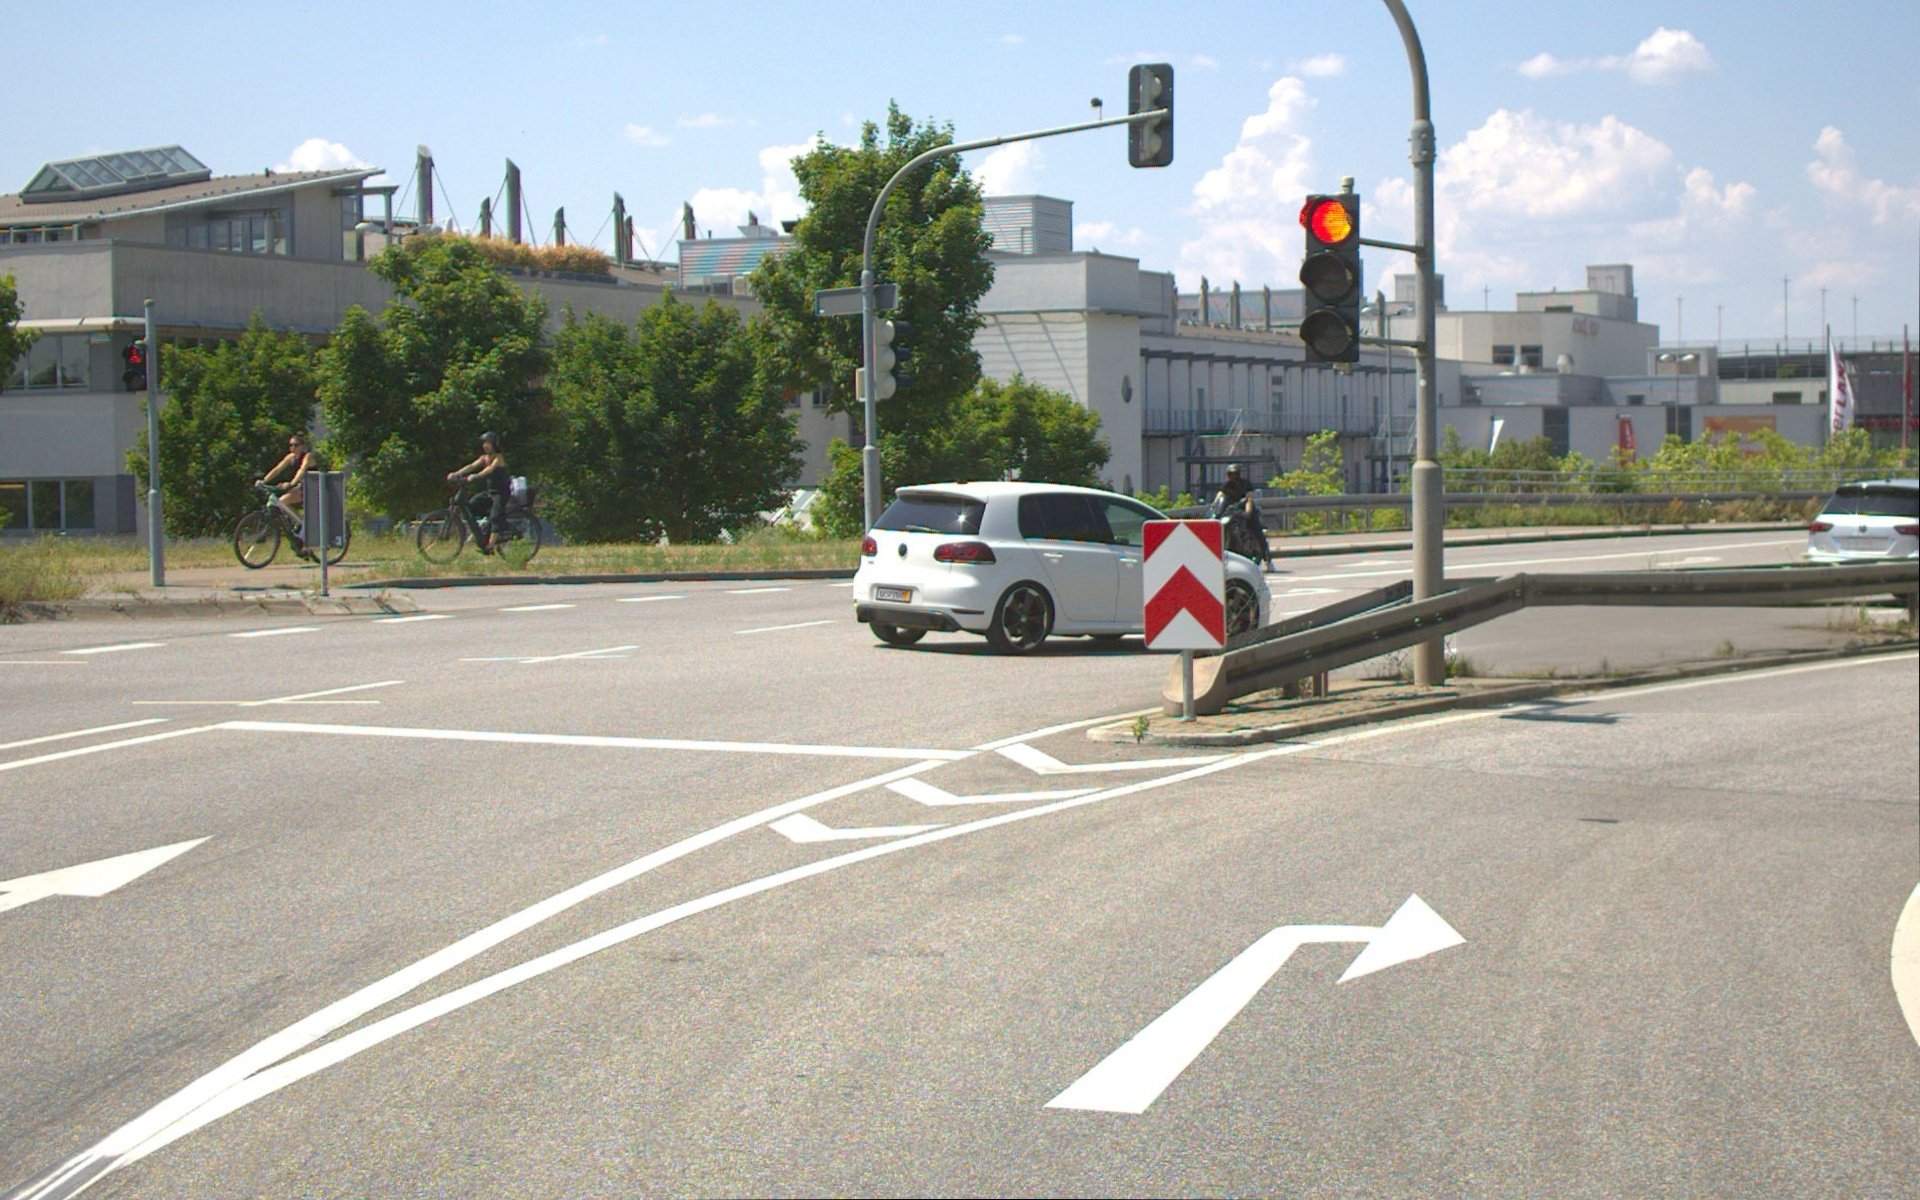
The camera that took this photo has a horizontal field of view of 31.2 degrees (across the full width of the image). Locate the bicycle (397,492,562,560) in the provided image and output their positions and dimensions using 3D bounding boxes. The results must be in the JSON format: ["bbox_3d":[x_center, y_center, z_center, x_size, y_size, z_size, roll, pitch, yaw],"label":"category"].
[{"bbox_3d":[-6.382,-0.983,45.701,2.120,0.849,0.535,0,3,-32],"label":"bicycle"}]

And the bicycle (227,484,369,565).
[{"bbox_3d":[-8.555,-0.968,44.476,1.827,1.021,0.415,0,4,-43],"label":"bicycle"}]

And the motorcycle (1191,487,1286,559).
[{"bbox_3d":[4.227,-1.174,52.033,0.563,1.076,2.281,0,2,28],"label":"motorcycle"}]

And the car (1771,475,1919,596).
[{"bbox_3d":[12.548,-0.868,45.418,1.998,1.500,4.387,0,1,36],"label":"car"}]

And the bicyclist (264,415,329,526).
[{"bbox_3d":[-8.577,-1.673,44.433,0.683,1.399,0.408,0,3,-41],"label":"bicyclist"}]

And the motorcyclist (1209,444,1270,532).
[{"bbox_3d":[4.232,-1.693,52.056,0.675,1.298,0.722,0,1,28],"label":"motorcyclist"}]

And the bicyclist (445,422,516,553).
[{"bbox_3d":[-6.372,-1.492,45.671,0.728,1.711,0.531,1,3,-32],"label":"bicyclist"}]

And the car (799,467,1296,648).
[{"bbox_3d":[0.819,-0.394,30.732,4.123,1.481,1.999,0,3,-40],"label":"car"}]
